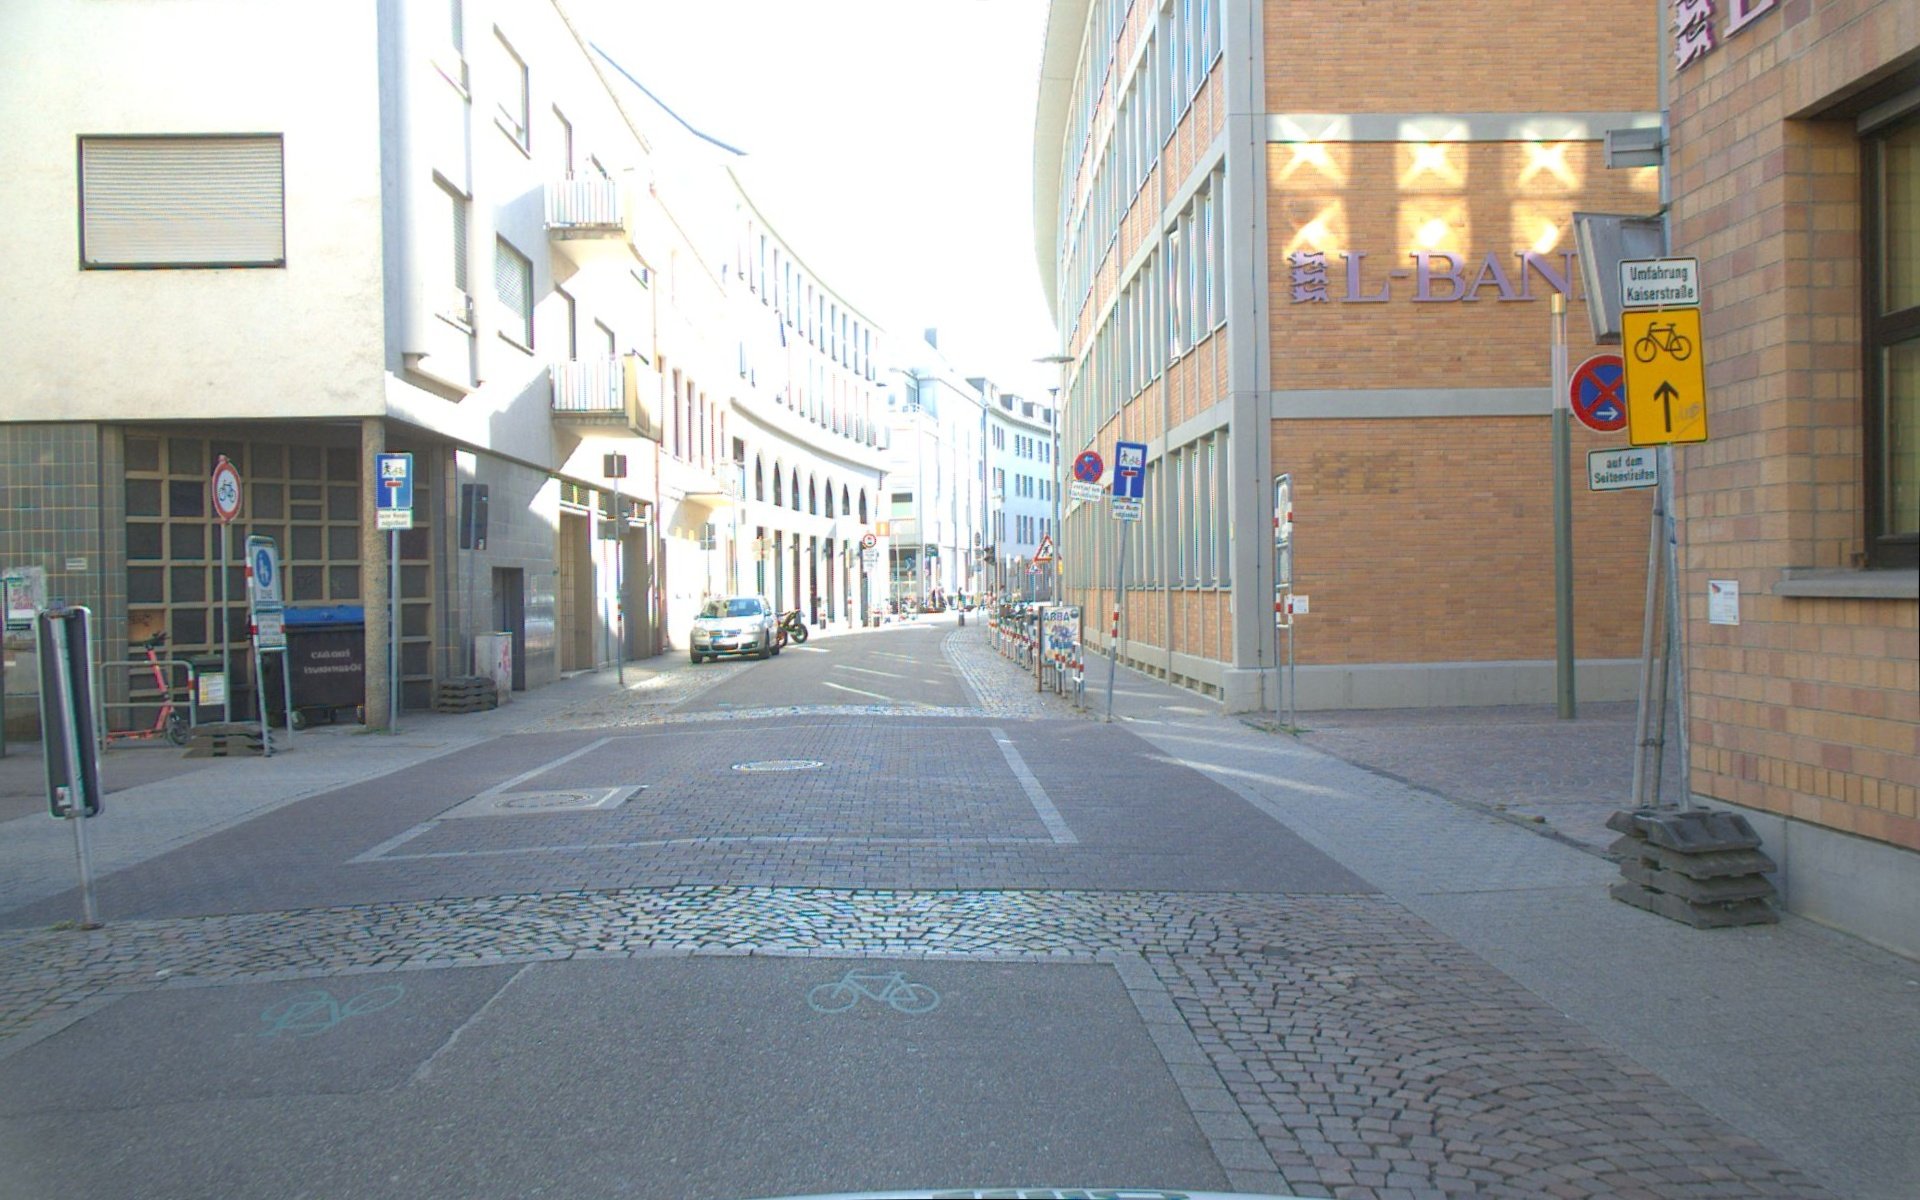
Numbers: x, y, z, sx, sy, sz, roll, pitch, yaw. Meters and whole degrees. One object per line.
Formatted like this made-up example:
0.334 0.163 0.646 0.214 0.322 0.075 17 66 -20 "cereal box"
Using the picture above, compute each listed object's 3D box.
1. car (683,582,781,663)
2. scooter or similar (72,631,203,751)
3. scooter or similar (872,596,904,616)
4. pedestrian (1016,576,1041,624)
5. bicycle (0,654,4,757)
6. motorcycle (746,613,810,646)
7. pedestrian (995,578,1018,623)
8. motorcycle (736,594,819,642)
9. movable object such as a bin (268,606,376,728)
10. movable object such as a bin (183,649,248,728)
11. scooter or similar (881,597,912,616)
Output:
-5.143 0.471 37.702 1.702 1.633 3.532 -5 1 -1 "car"
-8.932 0.981 17.973 1.134 1.228 0.480 -2 0 -2 "scooter or similar"
-3.517 0.300 80.492 0.515 0.944 2.225 0 1 28 "scooter or similar"
2.736 0.017 66.134 0.653 1.901 0.752 1 -1 -32 "pedestrian"
-11.196 1.125 17.377 1.833 1.178 0.717 -2 0 0 "bicycle"
-4.978 0.798 45.294 1.656 0.874 0.595 1 -1 3 "motorcycle"
2.026 0.019 71.550 0.653 1.901 0.778 1 -1 -32 "pedestrian"
-5.404 0.526 48.996 2.343 1.340 0.861 -2 0 -2 "motorcycle"
-7.889 0.809 20.456 0.868 1.444 0.929 0 -1 41 "movable object such as a bin"
-8.934 1.054 19.855 0.516 0.917 0.534 0 -1 41 "movable object such as a bin"
-3.197 0.334 83.594 0.515 0.944 2.225 0 1 28 "scooter or similar"
